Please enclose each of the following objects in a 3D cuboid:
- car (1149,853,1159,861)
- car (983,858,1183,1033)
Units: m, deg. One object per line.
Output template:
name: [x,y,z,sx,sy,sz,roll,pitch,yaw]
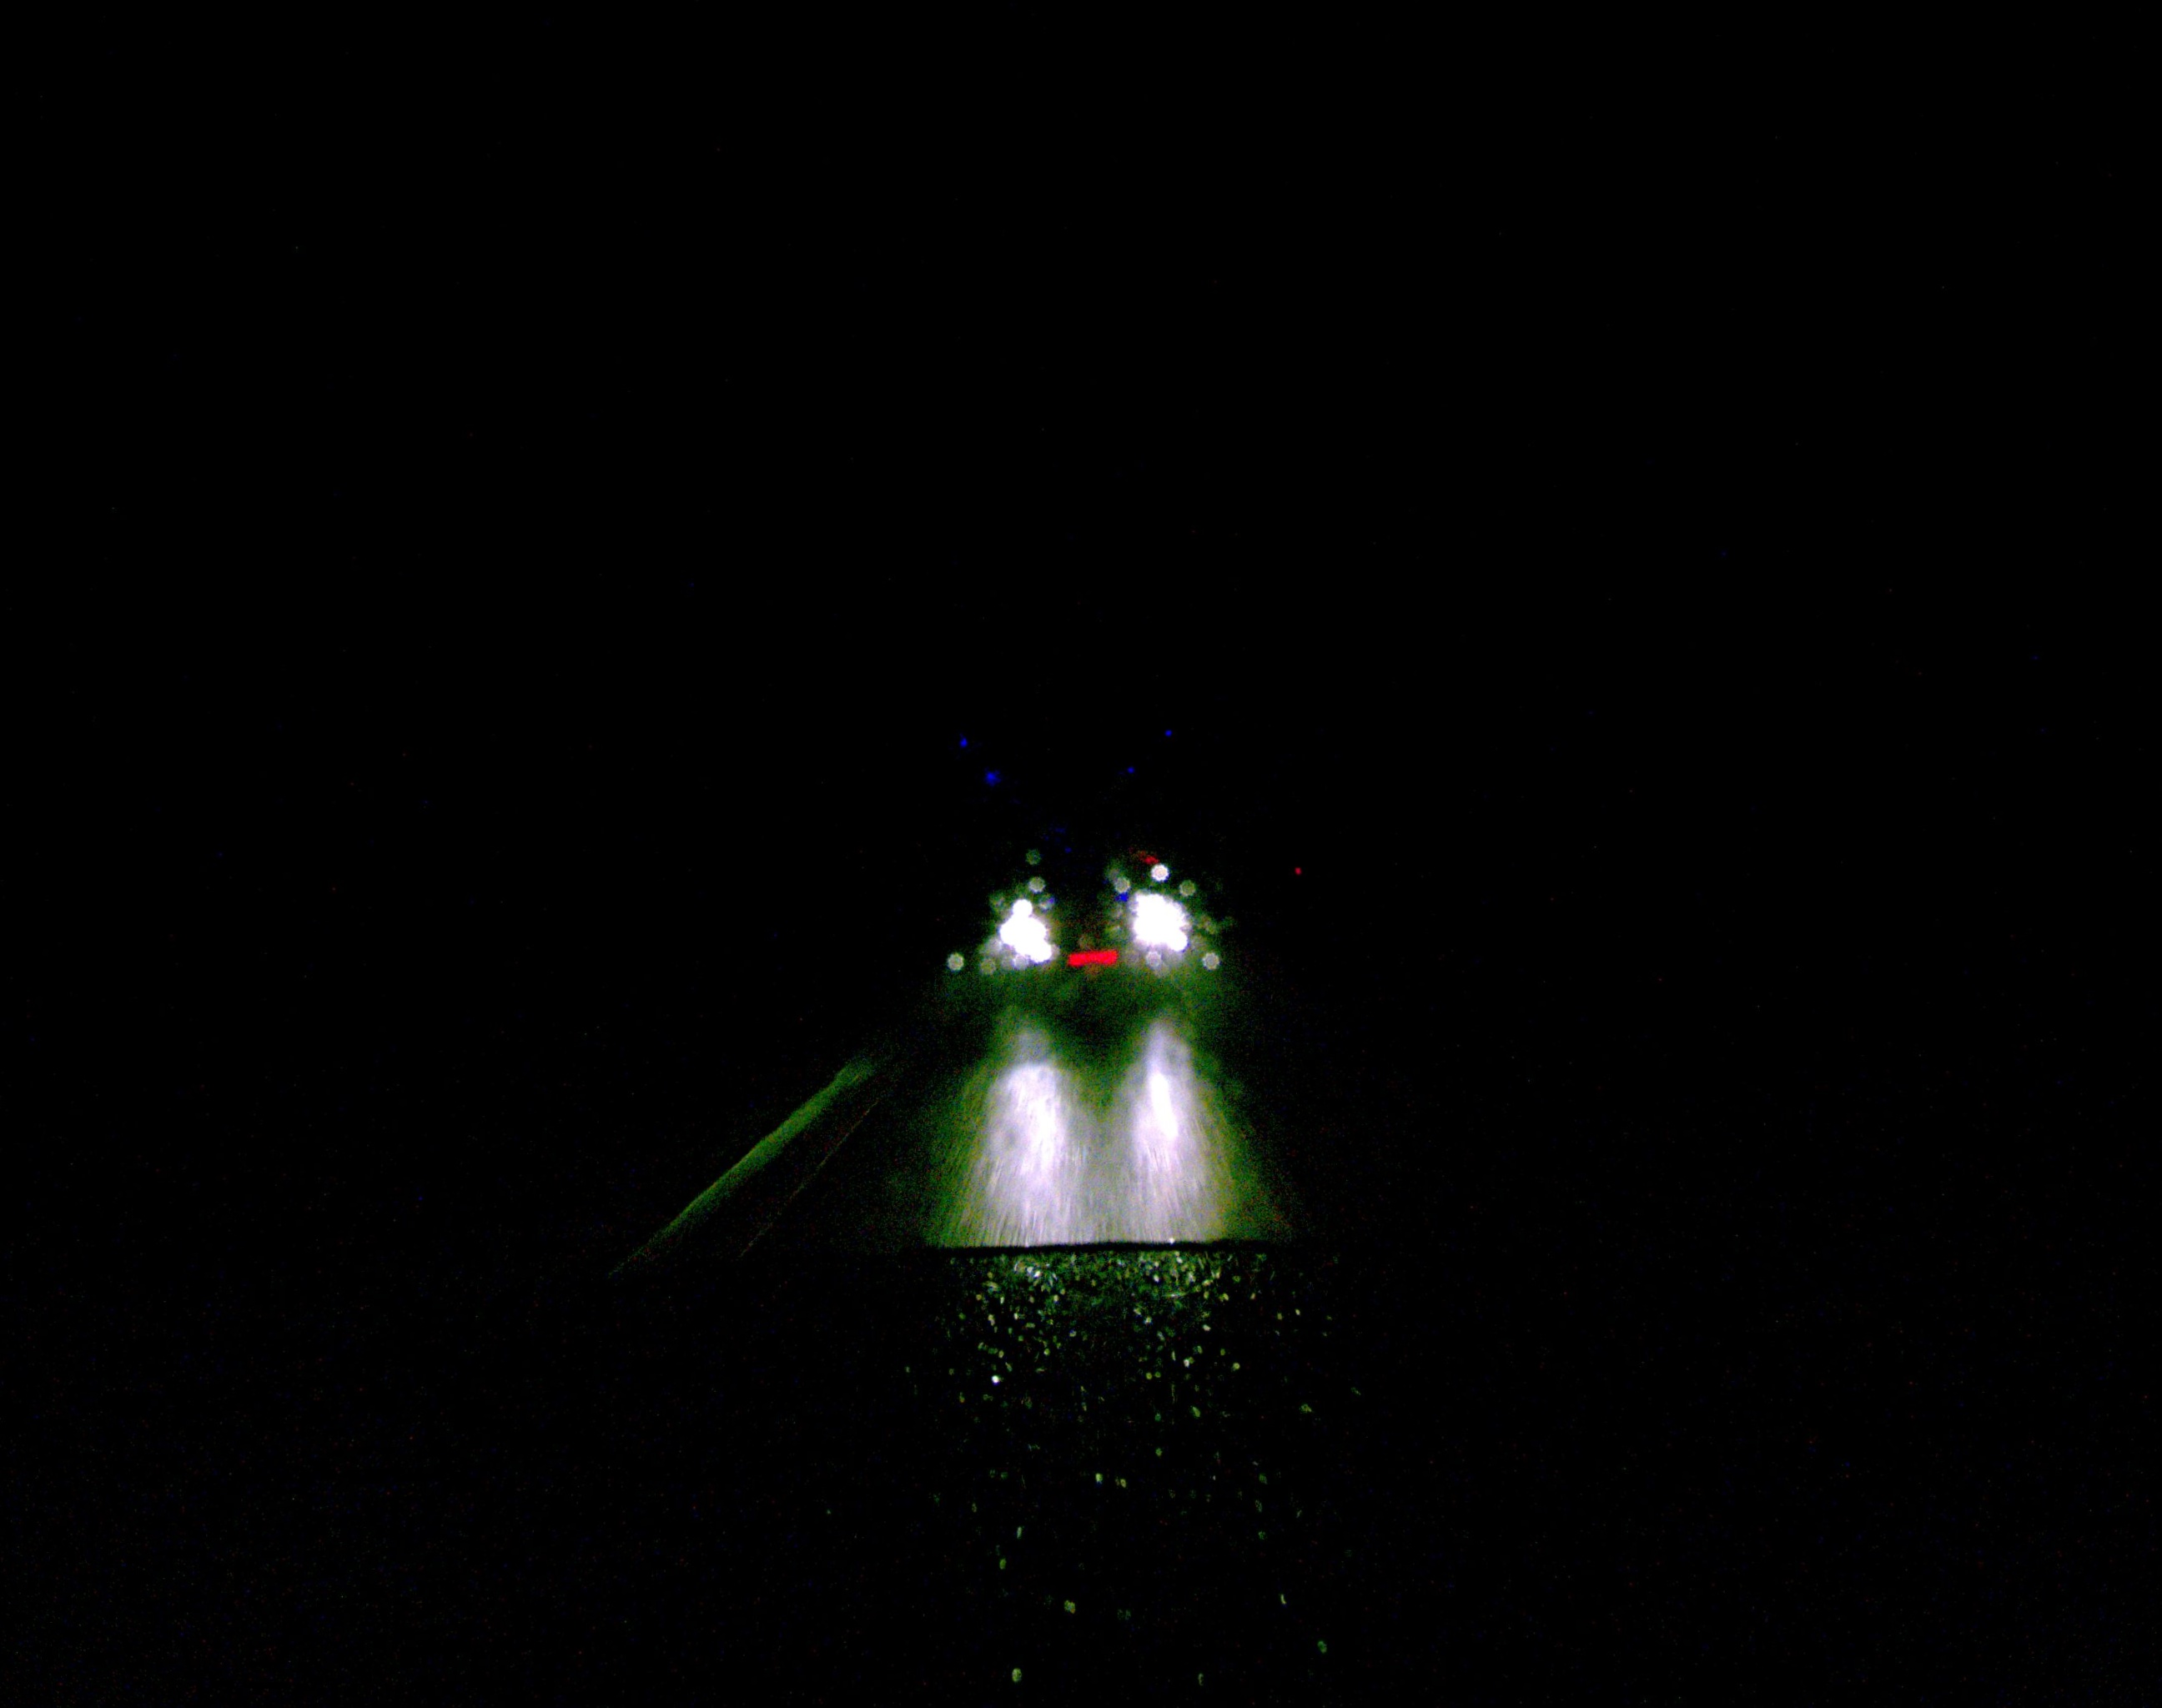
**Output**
car: [14.986,0.646,156.475,1.867,1.535,4.230,-2,-1,2]
car: [0.141,0.900,9.569,1.862,1.601,4.420,-3,0,3]
